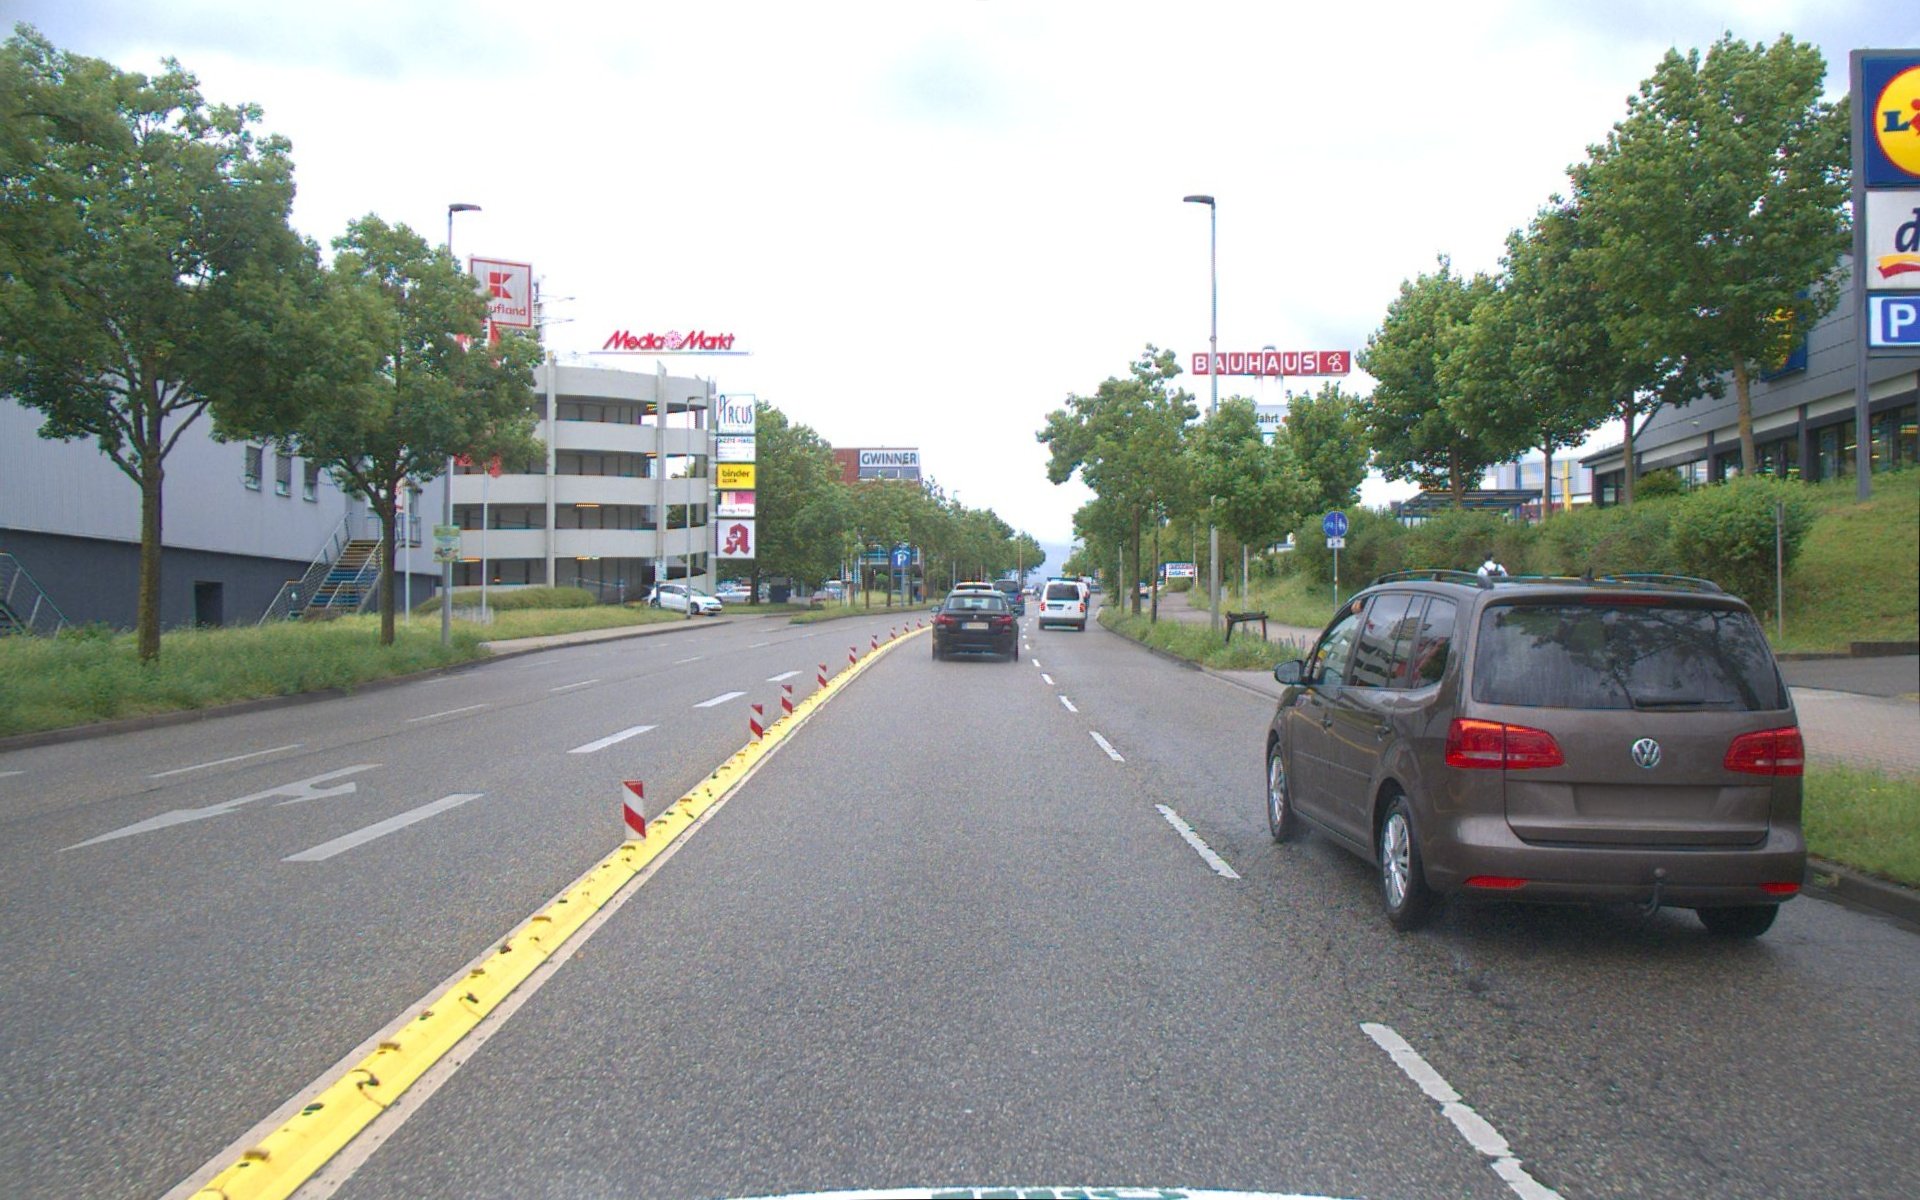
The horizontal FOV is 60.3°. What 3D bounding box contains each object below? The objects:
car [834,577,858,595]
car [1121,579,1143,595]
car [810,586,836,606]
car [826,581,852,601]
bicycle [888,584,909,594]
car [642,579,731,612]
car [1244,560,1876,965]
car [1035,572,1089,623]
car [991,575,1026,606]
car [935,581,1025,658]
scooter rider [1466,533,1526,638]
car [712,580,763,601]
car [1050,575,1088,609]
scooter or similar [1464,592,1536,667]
[{"bbox_3d":[-12.608,-1.585,183.515,2.093,1.804,4.610,1,2,3],"label":"car"},{"bbox_3d":[16.889,-1.275,162.752,1.757,1.537,4.001,2,0,1],"label":"car"},{"bbox_3d":[-12.262,-0.353,148.168,1.893,1.636,4.712,1,2,0],"label":"car"},{"bbox_3d":[-11.887,-0.898,162.599,1.997,1.792,4.948,1,2,2],"label":"car"},{"bbox_3d":[-6.733,-1.176,180.906,2.033,0.951,1.094,5,0,9],"label":"bicycle"},{"bbox_3d":[-14.659,-0.262,88.661,4.320,1.432,1.906,4,3,22],"label":"car"},{"bbox_3d":[2.795,0.633,8.791,1.651,1.608,4.217,1,1,-3],"label":"car"},{"bbox_3d":[3.815,-0.124,62.402,1.790,1.789,4.000,2,1,0],"label":"car"},{"bbox_3d":[2.619,-0.500,88.253,1.757,1.537,4.001,2,0,2],"label":"car"},{"bbox_3d":[0.422,0.378,35.657,1.789,1.494,4.000,2,1,0],"label":"car"},{"bbox_3d":[9.655,-0.252,29.834,0.681,1.852,0.857,-2,-1,-6],"label":"scooter rider"},{"bbox_3d":[-20.598,-0.899,153.354,4.507,1.776,1.966,1,2,-3],"label":"car"},{"bbox_3d":[5.353,-0.377,81.538,1.757,1.537,4.001,2,0,3],"label":"car"},{"bbox_3d":[9.694,0.531,29.732,0.681,1.286,1.399,-2,0,-5],"label":"scooter or similar"}]
